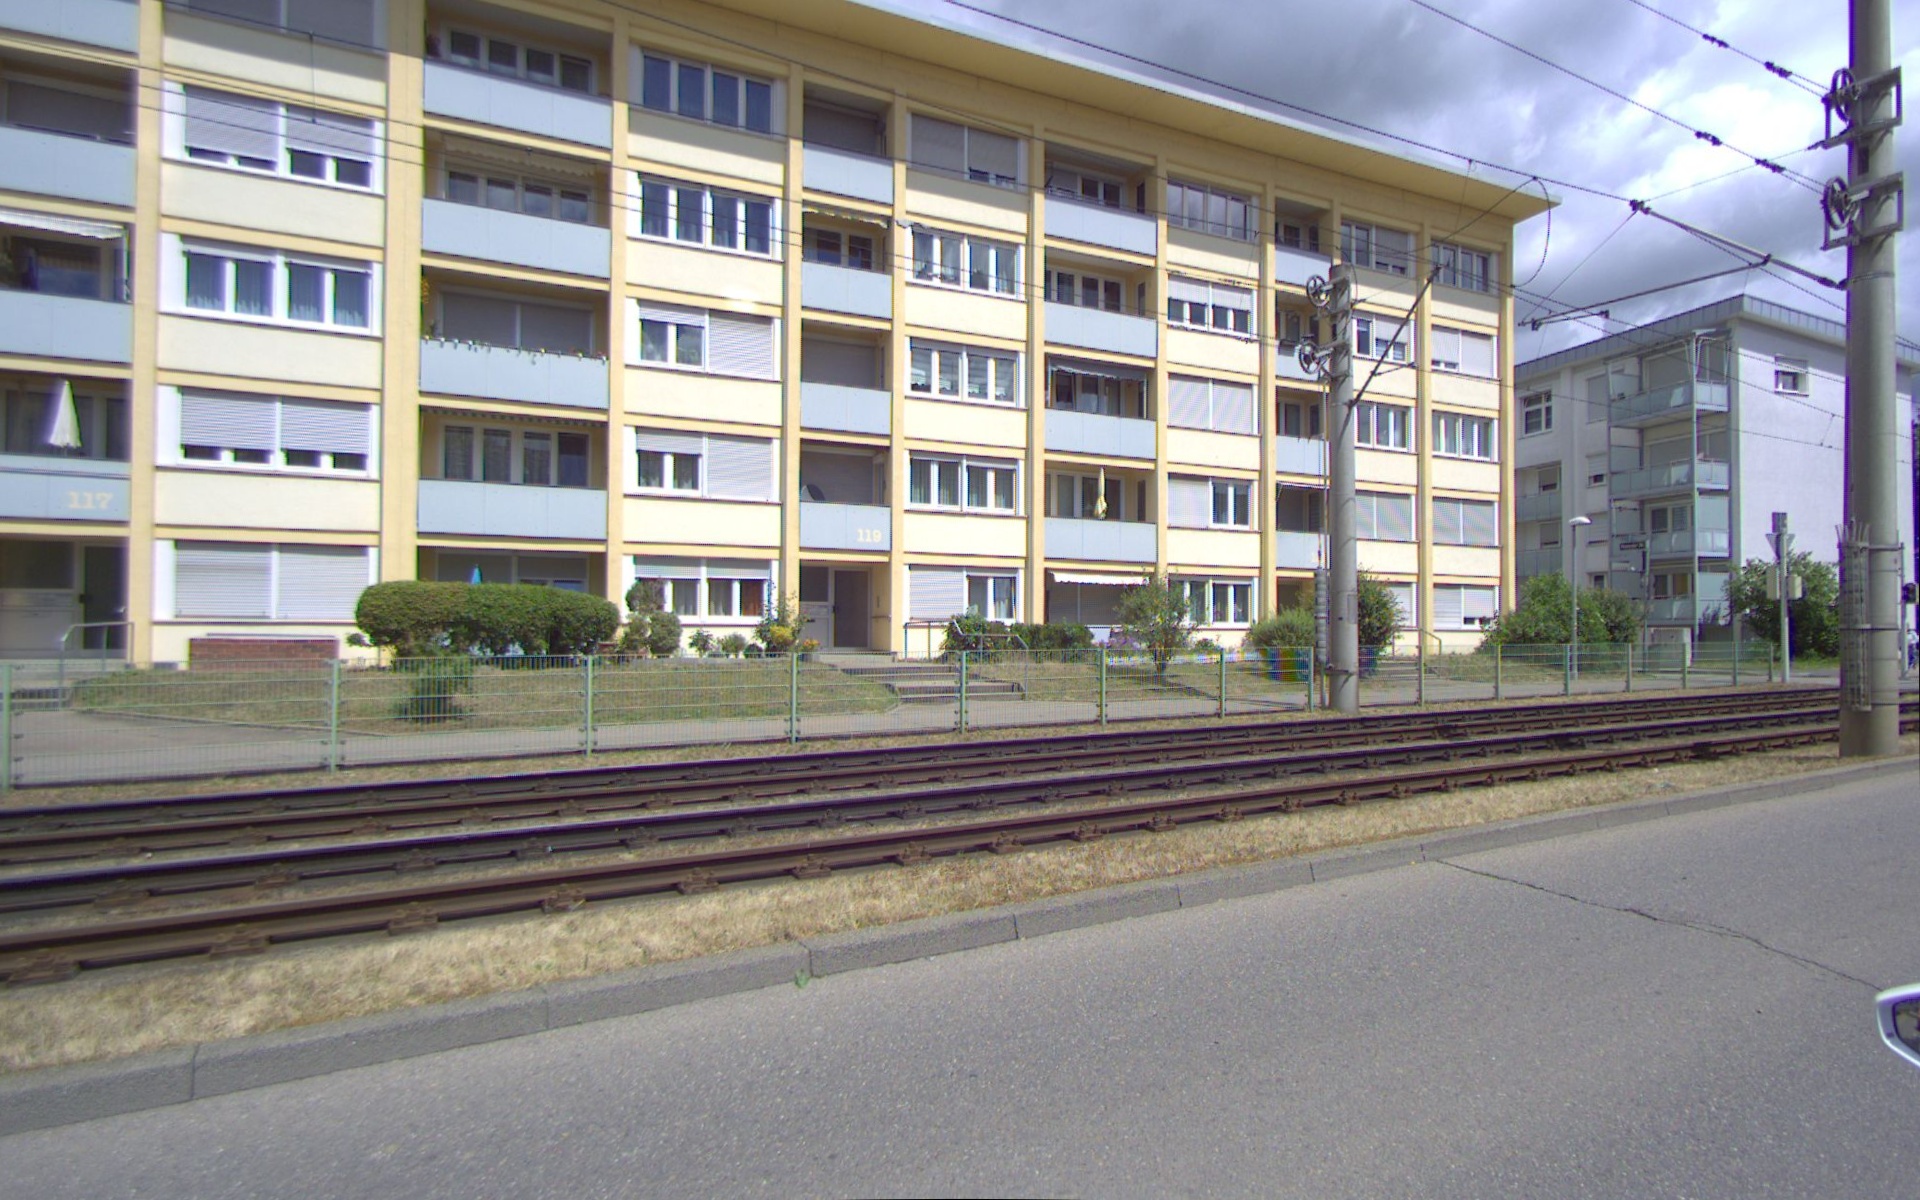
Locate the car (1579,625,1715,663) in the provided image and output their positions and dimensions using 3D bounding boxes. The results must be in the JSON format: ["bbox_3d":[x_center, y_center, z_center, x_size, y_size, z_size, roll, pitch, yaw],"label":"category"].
[{"bbox_3d":[26.479,1.665,38.864,1.873,1.363,3.980,1,-1,-21],"label":"car"}]

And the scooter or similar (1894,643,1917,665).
[{"bbox_3d":[33.183,1.880,35.263,0.468,0.757,0.436,1,-1,-25],"label":"scooter or similar"}]

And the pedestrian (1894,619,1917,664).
[{"bbox_3d":[33.550,1.461,35.634,0.468,1.602,0.436,1,-1,-25],"label":"pedestrian"}]
